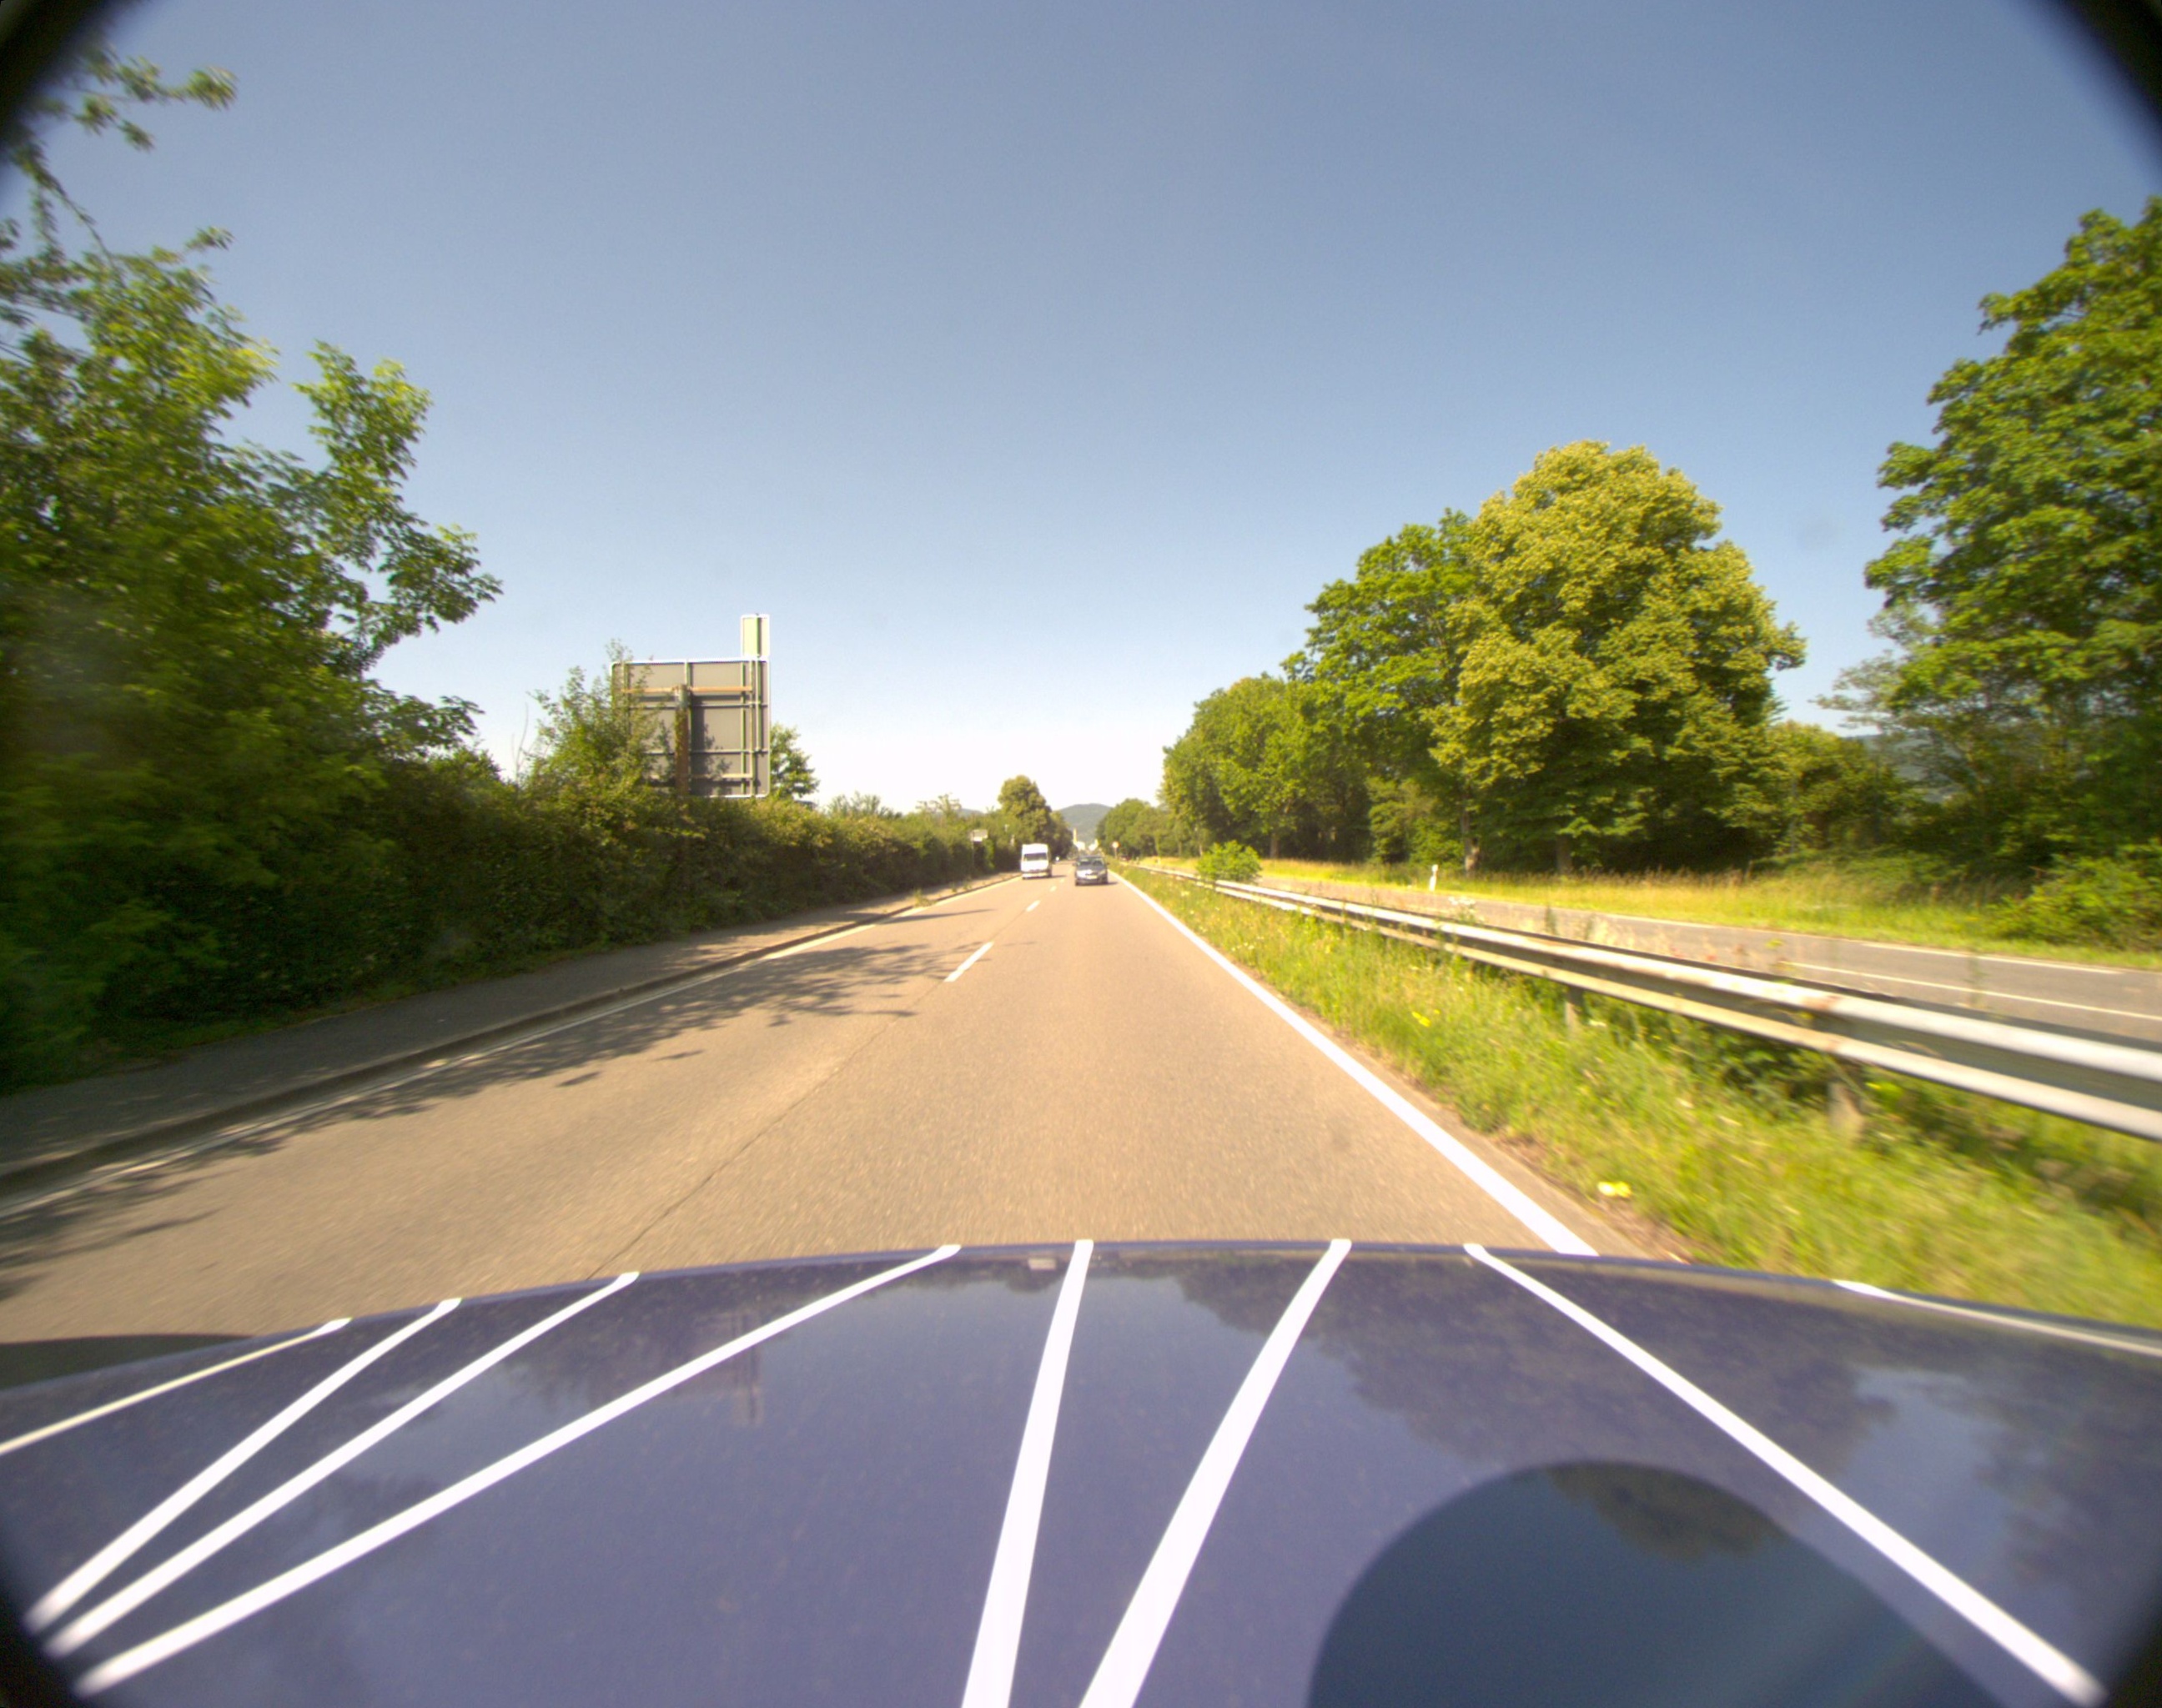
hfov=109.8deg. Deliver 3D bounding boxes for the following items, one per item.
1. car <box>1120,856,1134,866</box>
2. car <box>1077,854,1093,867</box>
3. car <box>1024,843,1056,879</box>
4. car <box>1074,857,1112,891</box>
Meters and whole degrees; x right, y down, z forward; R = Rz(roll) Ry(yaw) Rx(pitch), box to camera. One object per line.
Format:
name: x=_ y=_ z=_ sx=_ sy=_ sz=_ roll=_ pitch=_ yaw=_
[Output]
car: x=7.111 y=1.106 z=118.597 sx=1.783 sy=1.521 sz=4.160 roll=0 pitch=0 yaw=-2
car: x=0.467 y=0.715 z=86.226 sx=1.678 sy=1.435 sz=3.621 roll=-2 pitch=1 yaw=0
car: x=-2.973 y=0.476 z=55.653 sx=1.998 sy=2.432 sz=5.088 roll=-2 pitch=1 yaw=0
car: x=0.568 y=0.914 z=36.556 sx=1.678 sy=1.435 sz=4.361 roll=-2 pitch=1 yaw=0
